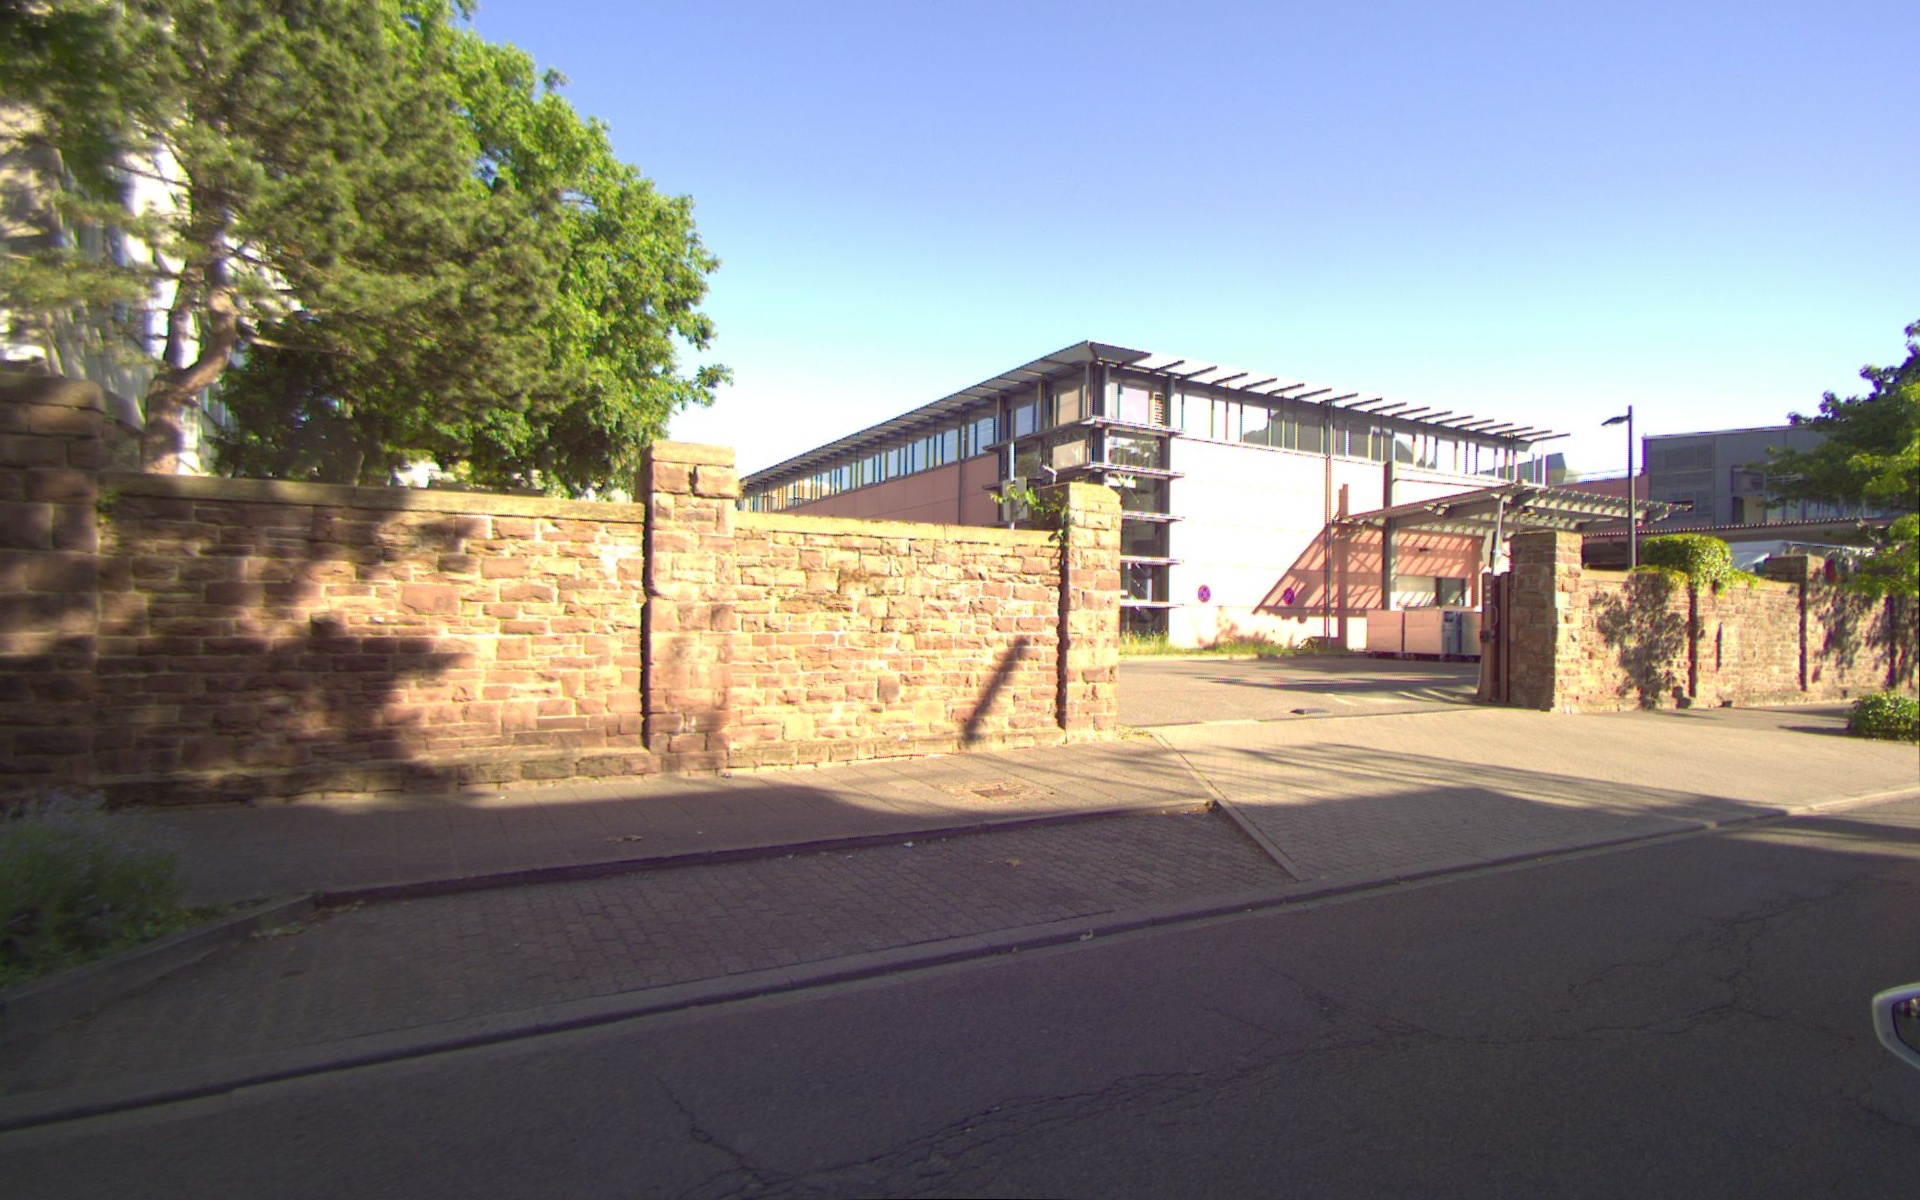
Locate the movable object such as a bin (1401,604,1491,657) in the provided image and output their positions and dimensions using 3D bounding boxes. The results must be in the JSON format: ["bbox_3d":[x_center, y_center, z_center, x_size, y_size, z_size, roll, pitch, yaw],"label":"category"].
[{"bbox_3d":[15.193,0.937,31.390,2.526,1.559,1.400,1,1,-32],"label":"movable object such as a bin"}]

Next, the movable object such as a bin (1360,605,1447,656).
[{"bbox_3d":[14.417,0.977,32.640,2.526,1.559,1.400,1,1,-32],"label":"movable object such as a bin"}]

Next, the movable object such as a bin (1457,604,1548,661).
[{"bbox_3d":[16.465,0.990,30.482,2.526,1.619,1.318,1,1,-32],"label":"movable object such as a bin"}]

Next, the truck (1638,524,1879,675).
[{"bbox_3d":[22.299,0.040,27.949,7.341,3.761,2.719,1,1,-30],"label":"truck"}]
